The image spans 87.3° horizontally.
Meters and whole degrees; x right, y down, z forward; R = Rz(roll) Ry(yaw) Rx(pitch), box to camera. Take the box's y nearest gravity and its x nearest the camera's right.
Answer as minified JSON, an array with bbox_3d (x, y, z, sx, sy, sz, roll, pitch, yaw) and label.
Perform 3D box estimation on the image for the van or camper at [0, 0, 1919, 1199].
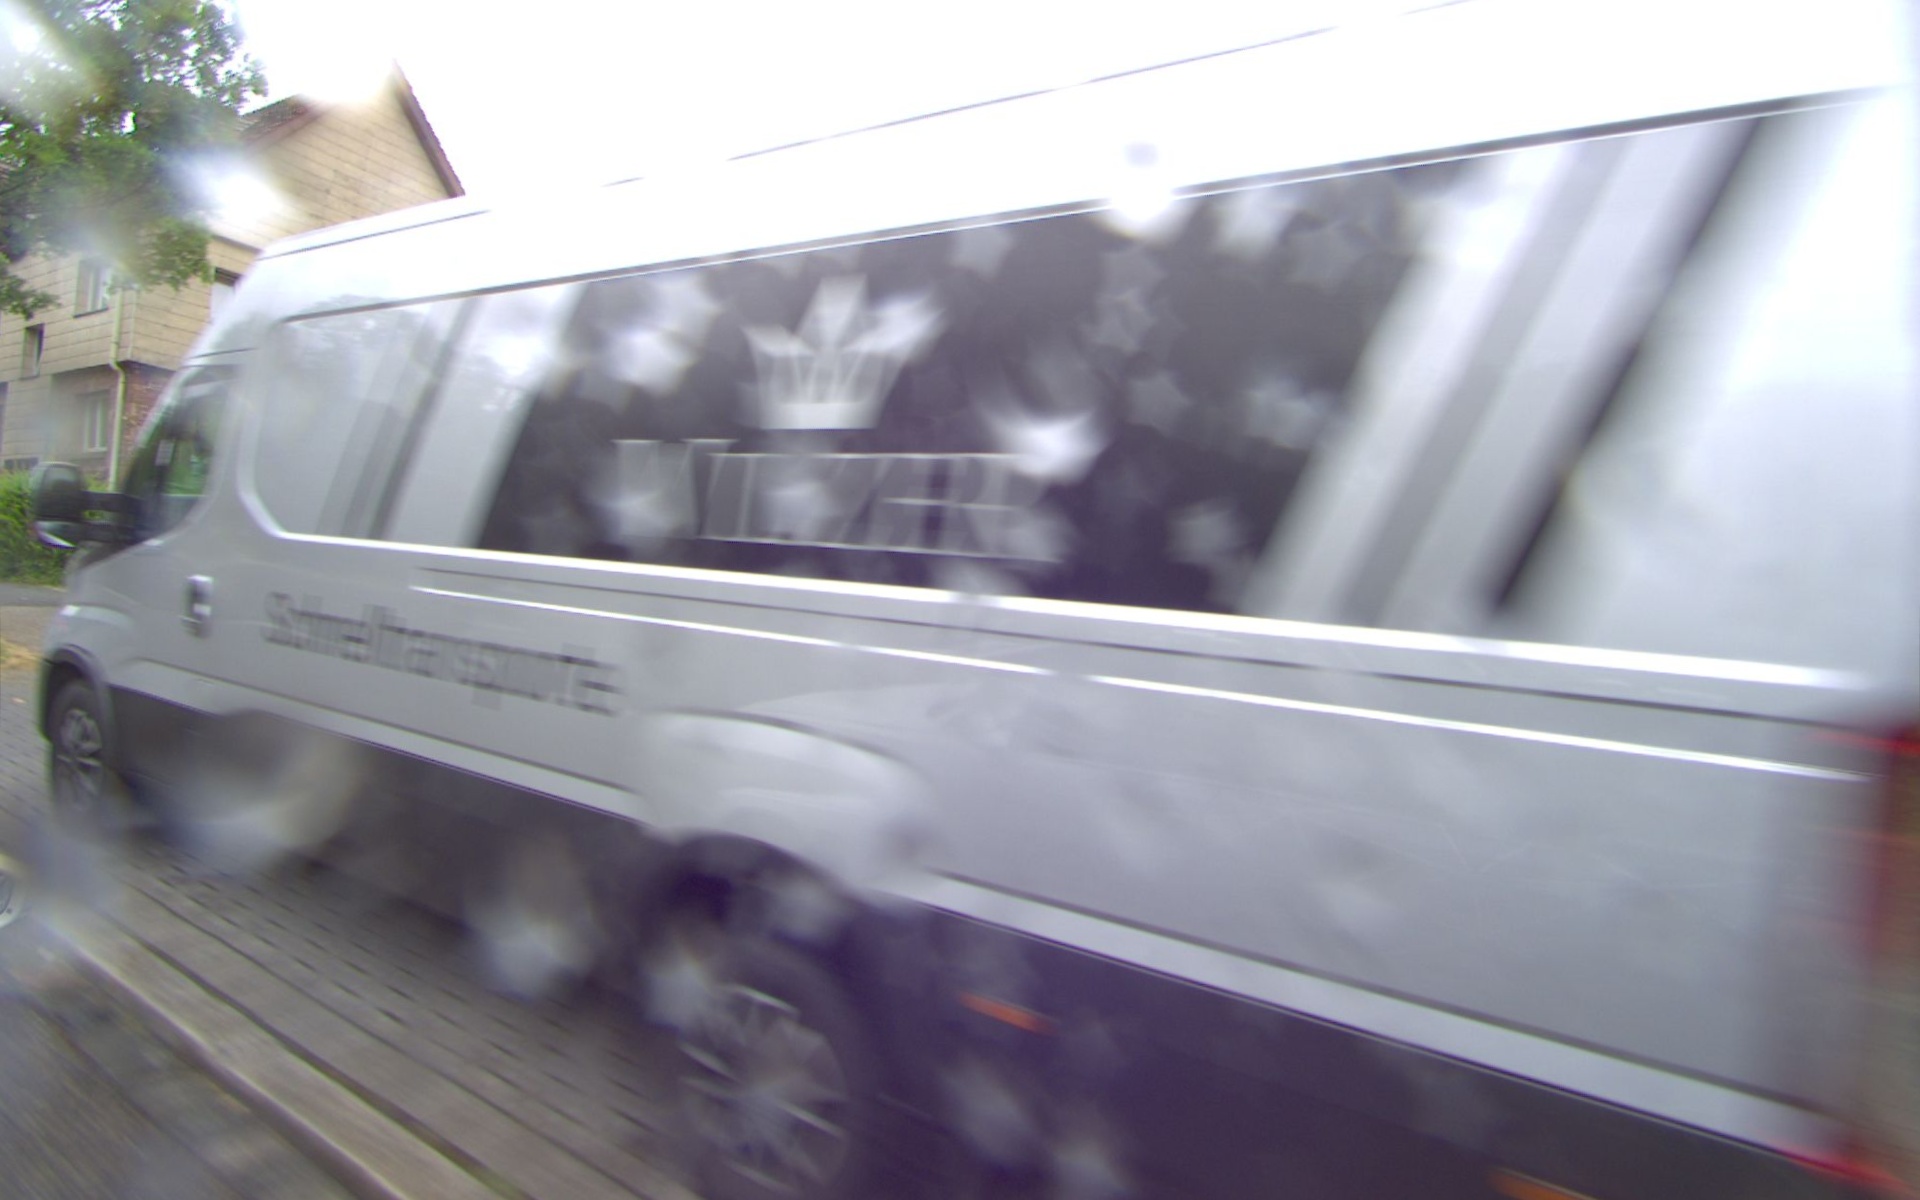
[{"bbox_3d":[-1.176,-0.122,3.865,7.181,2.686,2.198,7,2,32],"label":"van or camper"}]
